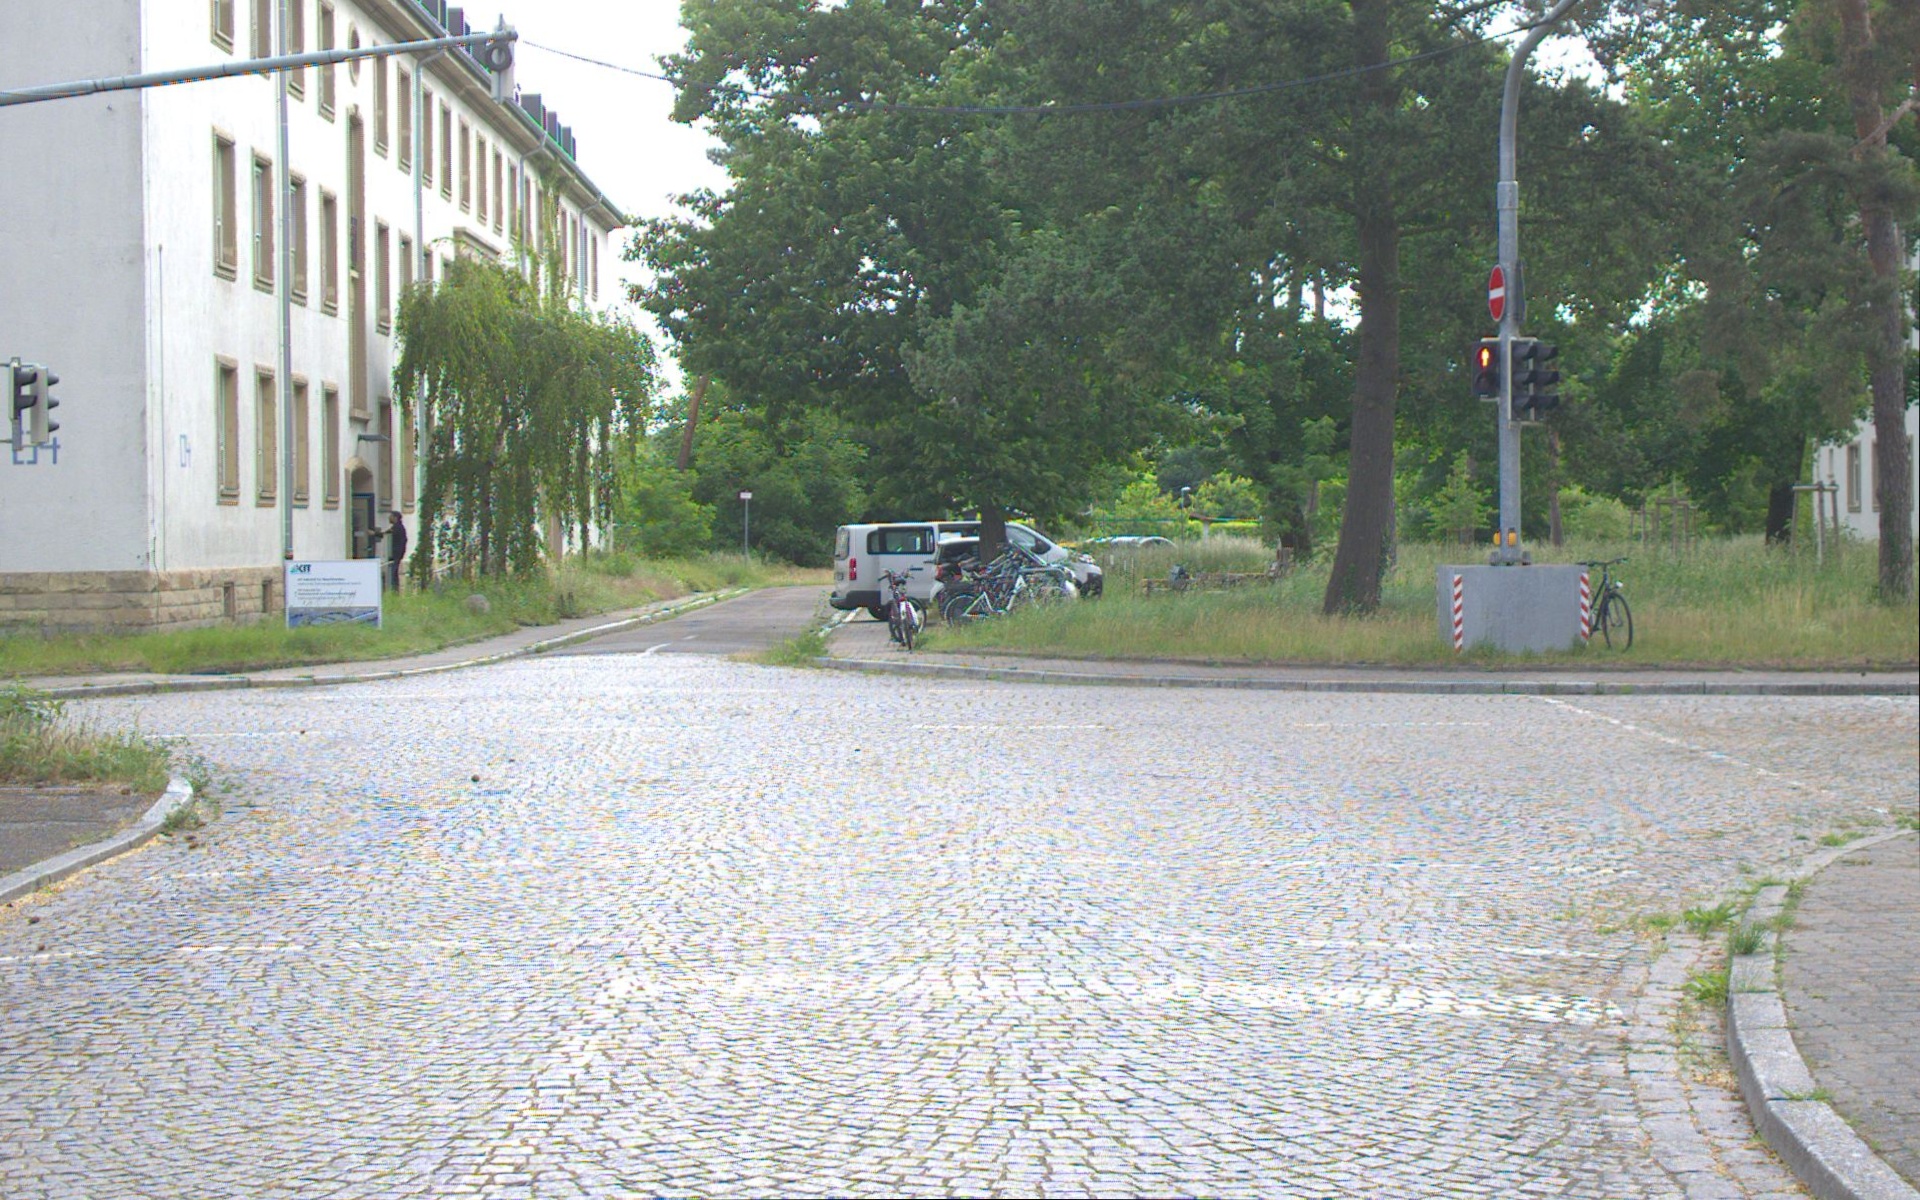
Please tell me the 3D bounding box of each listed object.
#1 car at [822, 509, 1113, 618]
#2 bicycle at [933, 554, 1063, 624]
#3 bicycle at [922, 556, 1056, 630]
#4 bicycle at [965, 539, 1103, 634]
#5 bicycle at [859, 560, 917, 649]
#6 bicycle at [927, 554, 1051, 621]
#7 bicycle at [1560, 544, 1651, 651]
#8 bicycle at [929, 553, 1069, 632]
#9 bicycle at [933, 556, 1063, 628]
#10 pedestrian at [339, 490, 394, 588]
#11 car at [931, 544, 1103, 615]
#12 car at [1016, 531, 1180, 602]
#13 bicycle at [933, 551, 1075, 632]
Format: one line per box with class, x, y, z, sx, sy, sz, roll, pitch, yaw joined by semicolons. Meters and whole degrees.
car;0.125;-0.724;67.016;5.359;1.918;2.025;-2;1;-9
bicycle;0.595;-0.175;53.758;1.954;1.066;0.588;-1;1;-25
bicycle;0.436;-0.112;51.054;1.955;1.066;0.588;-1;1;-30
bicycle;1.088;-0.206;50.399;1.954;1.379;0.588;0;1;-7
bicycle;-0.967;0.045;45.746;0.603;1.128;1.962;0;1;-6
bicycle;0.474;-0.217;56.090;1.954;1.066;0.588;-1;1;-25
bicycle;6.897;-0.047;36.811;0.586;1.102;1.961;0;1;0
bicycle;0.552;-0.108;49.570;1.954;1.113;0.588;0;1;-7
bicycle;0.579;-0.136;52.404;1.955;1.066;0.588;-1;1;-30
pedestrian;-11.166;-1.153;64.686;0.774;1.831;0.741;-1;1;-31
car;1.036;-0.390;63.655;3.005;1.264;1.535;-1;1;-6
car;2.834;-0.693;70.892;3.231;1.411;1.725;-1;1;-3
bicycle;0.620;-0.120;48.936;1.954;1.128;0.588;0;1;-7
